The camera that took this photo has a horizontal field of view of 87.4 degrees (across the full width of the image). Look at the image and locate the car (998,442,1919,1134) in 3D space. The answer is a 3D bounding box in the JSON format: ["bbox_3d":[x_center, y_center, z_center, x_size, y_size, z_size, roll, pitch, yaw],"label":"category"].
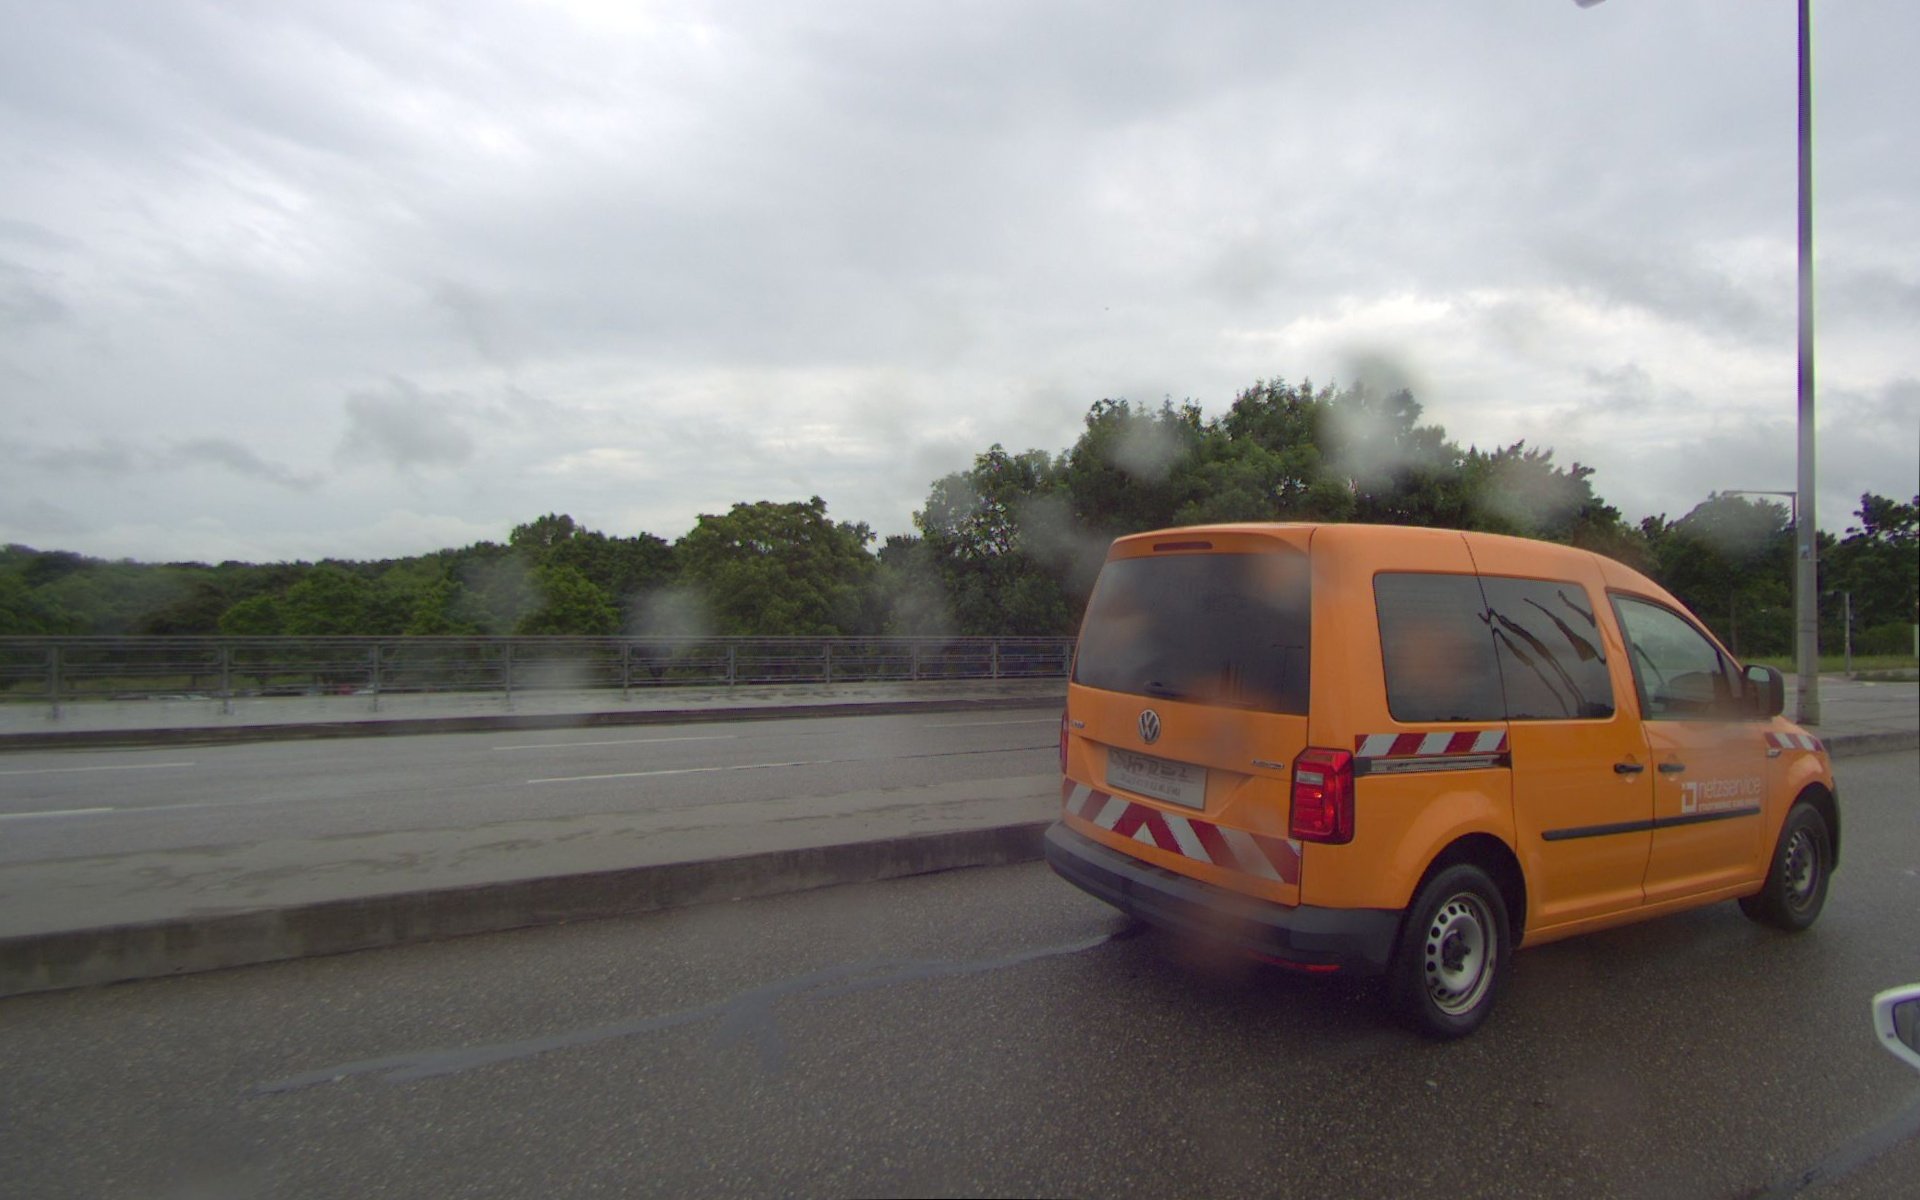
[{"bbox_3d":[2.691,0.625,4.929,4.792,2.045,1.726,2,0,-30],"label":"car"}]
